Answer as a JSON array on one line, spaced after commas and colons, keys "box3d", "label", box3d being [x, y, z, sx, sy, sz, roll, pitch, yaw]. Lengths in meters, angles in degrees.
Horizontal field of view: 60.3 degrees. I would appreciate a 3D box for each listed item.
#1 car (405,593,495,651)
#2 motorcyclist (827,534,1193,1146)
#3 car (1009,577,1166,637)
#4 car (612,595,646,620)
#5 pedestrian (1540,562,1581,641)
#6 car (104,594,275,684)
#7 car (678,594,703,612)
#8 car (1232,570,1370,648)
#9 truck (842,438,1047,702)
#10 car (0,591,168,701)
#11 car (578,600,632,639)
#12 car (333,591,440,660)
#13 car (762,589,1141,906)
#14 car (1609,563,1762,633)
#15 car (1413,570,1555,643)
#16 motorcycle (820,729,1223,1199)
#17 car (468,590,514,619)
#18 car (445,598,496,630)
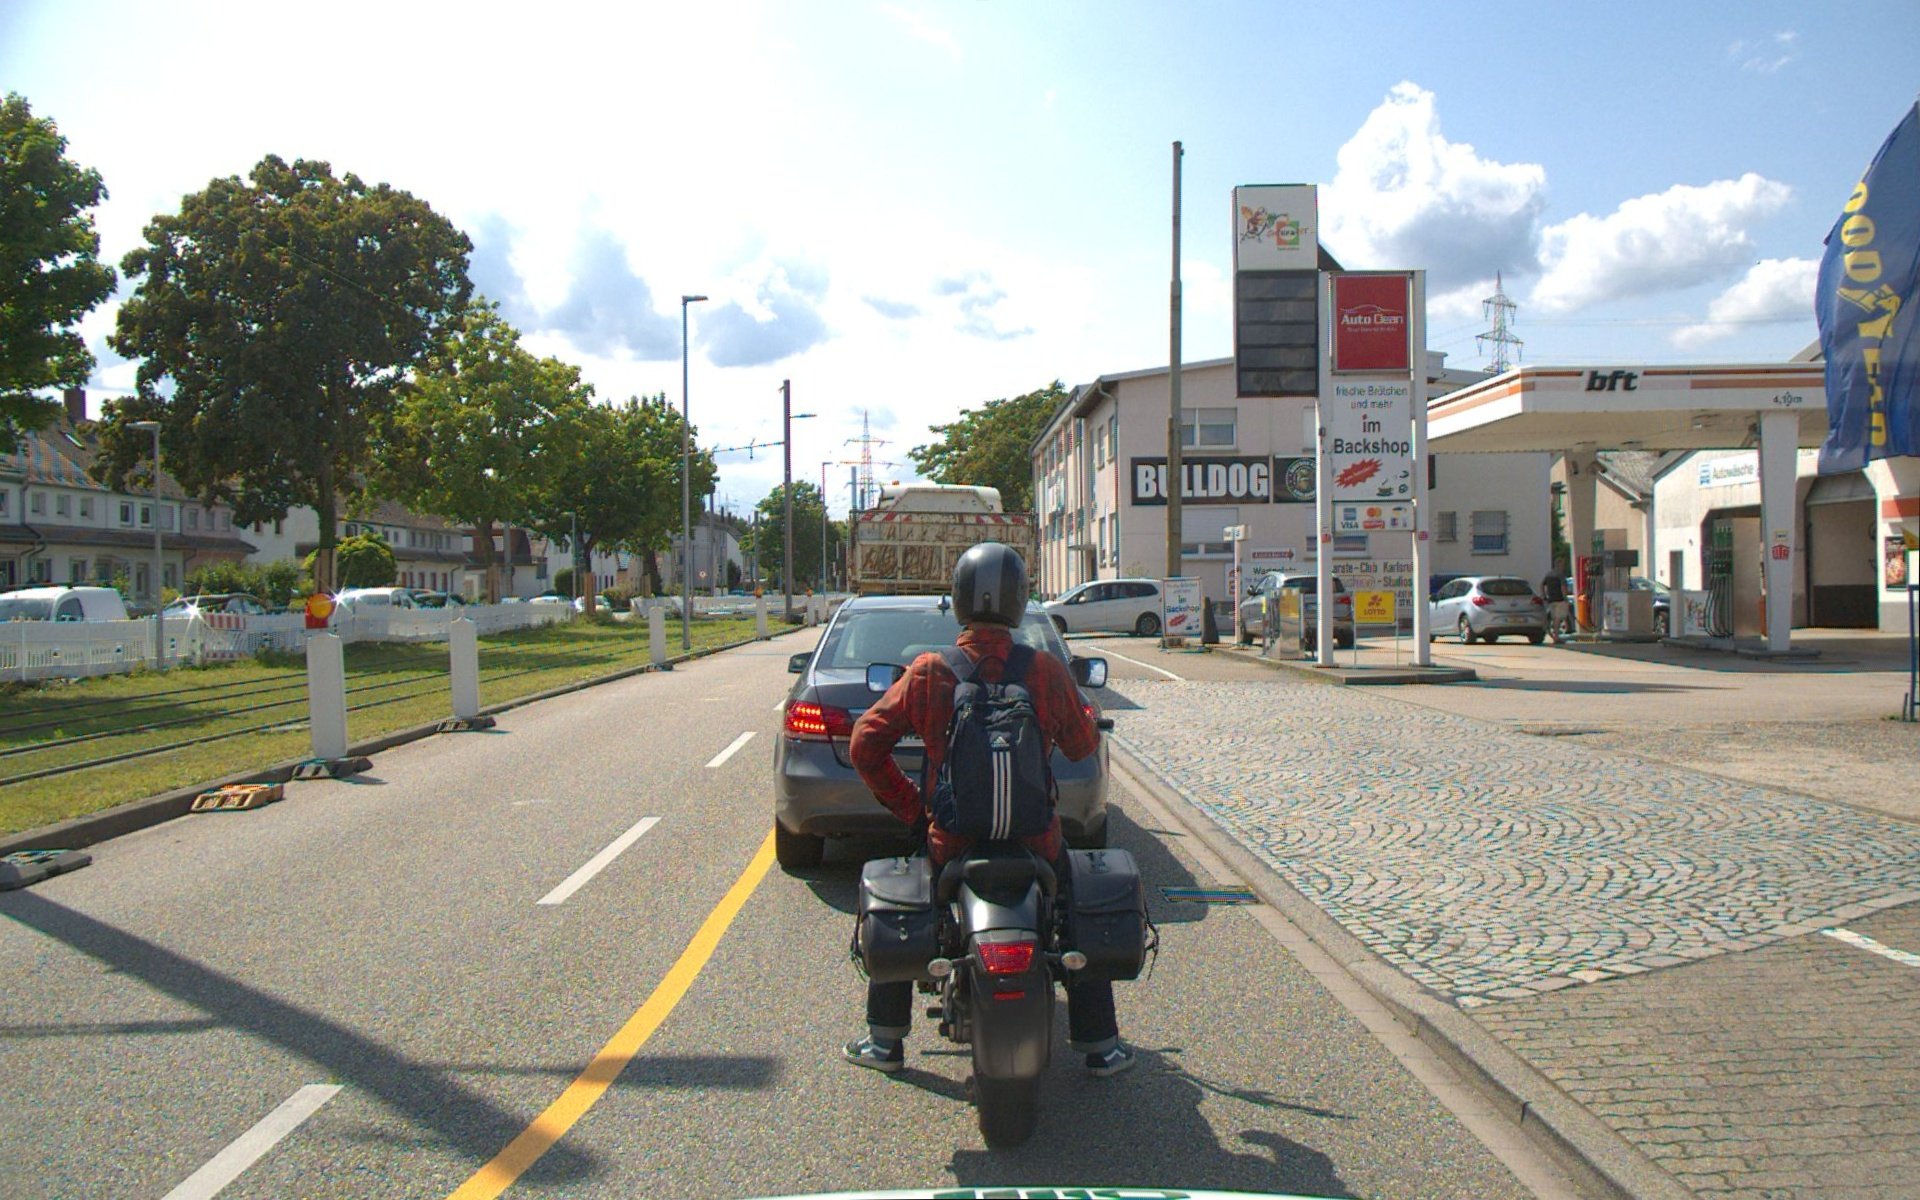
[{"box3d": [-16.974, 0.699, 55.248, 1.740, 1.837, 4.127, -1, 0, -1], "label": "car"}, {"box3d": [0.129, 0.641, 5.008, 0.959, 1.630, 1.087, -1, 0, -1], "label": "motorcyclist"}, {"box3d": [3.625, 0.181, 47.122, 4.156, 1.570, 1.668, -1, 0, -12], "label": "car"}, {"box3d": [-24.979, 0.546, 124.837, 1.740, 1.753, 4.127, -1, 0, -1], "label": "car"}, {"box3d": [12.955, 0.029, 35.705, 0.696, 1.685, 0.546, -1, 0, 35], "label": "pedestrian"}, {"box3d": [-16.672, 0.791, 36.013, 1.740, 1.805, 4.227, -1, 0, -1], "label": "car"}, {"box3d": [-26.099, 0.282, 160.244, 1.740, 1.753, 4.250, -1, 0, -1], "label": "car"}, {"box3d": [7.459, 0.175, 36.623, 1.636, 1.589, 4.236, -1, 0, -8], "label": "car"}, {"box3d": [-0.259, -0.424, 25.356, 2.585, 3.354, 8.054, -1, 0, -1], "label": "truck"}, {"box3d": [-16.463, 0.784, 30.376, 1.740, 1.853, 4.363, -1, 0, -1], "label": "car"}, {"box3d": [-17.062, 0.908, 79.672, 1.740, 1.753, 4.127, -1, 0, -1], "label": "car"}, {"box3d": [-16.941, 0.714, 49.069, 1.740, 1.900, 4.127, -1, 0, -1], "label": "car"}, {"box3d": [-0.068, 0.693, 9.900, 1.786, 1.478, 3.999, 1, 0, -1], "label": "car"}, {"box3d": [17.001, -0.062, 38.944, 1.770, 1.529, 3.832, -1, 0, -3], "label": "car"}, {"box3d": [11.723, 0.118, 37.259, 1.770, 1.529, 3.831, -1, 0, -3], "label": "car"}, {"box3d": [0.131, 0.995, 5.314, 0.959, 0.913, 2.653, -1, 0, -1], "label": "motorcycle"}, {"box3d": [-29.436, 0.274, 103.937, 1.740, 1.753, 4.127, -1, 0, -1], "label": "car"}, {"box3d": [-28.309, 0.777, 95.819, 1.740, 1.753, 4.127, -1, 0, -1], "label": "car"}]
